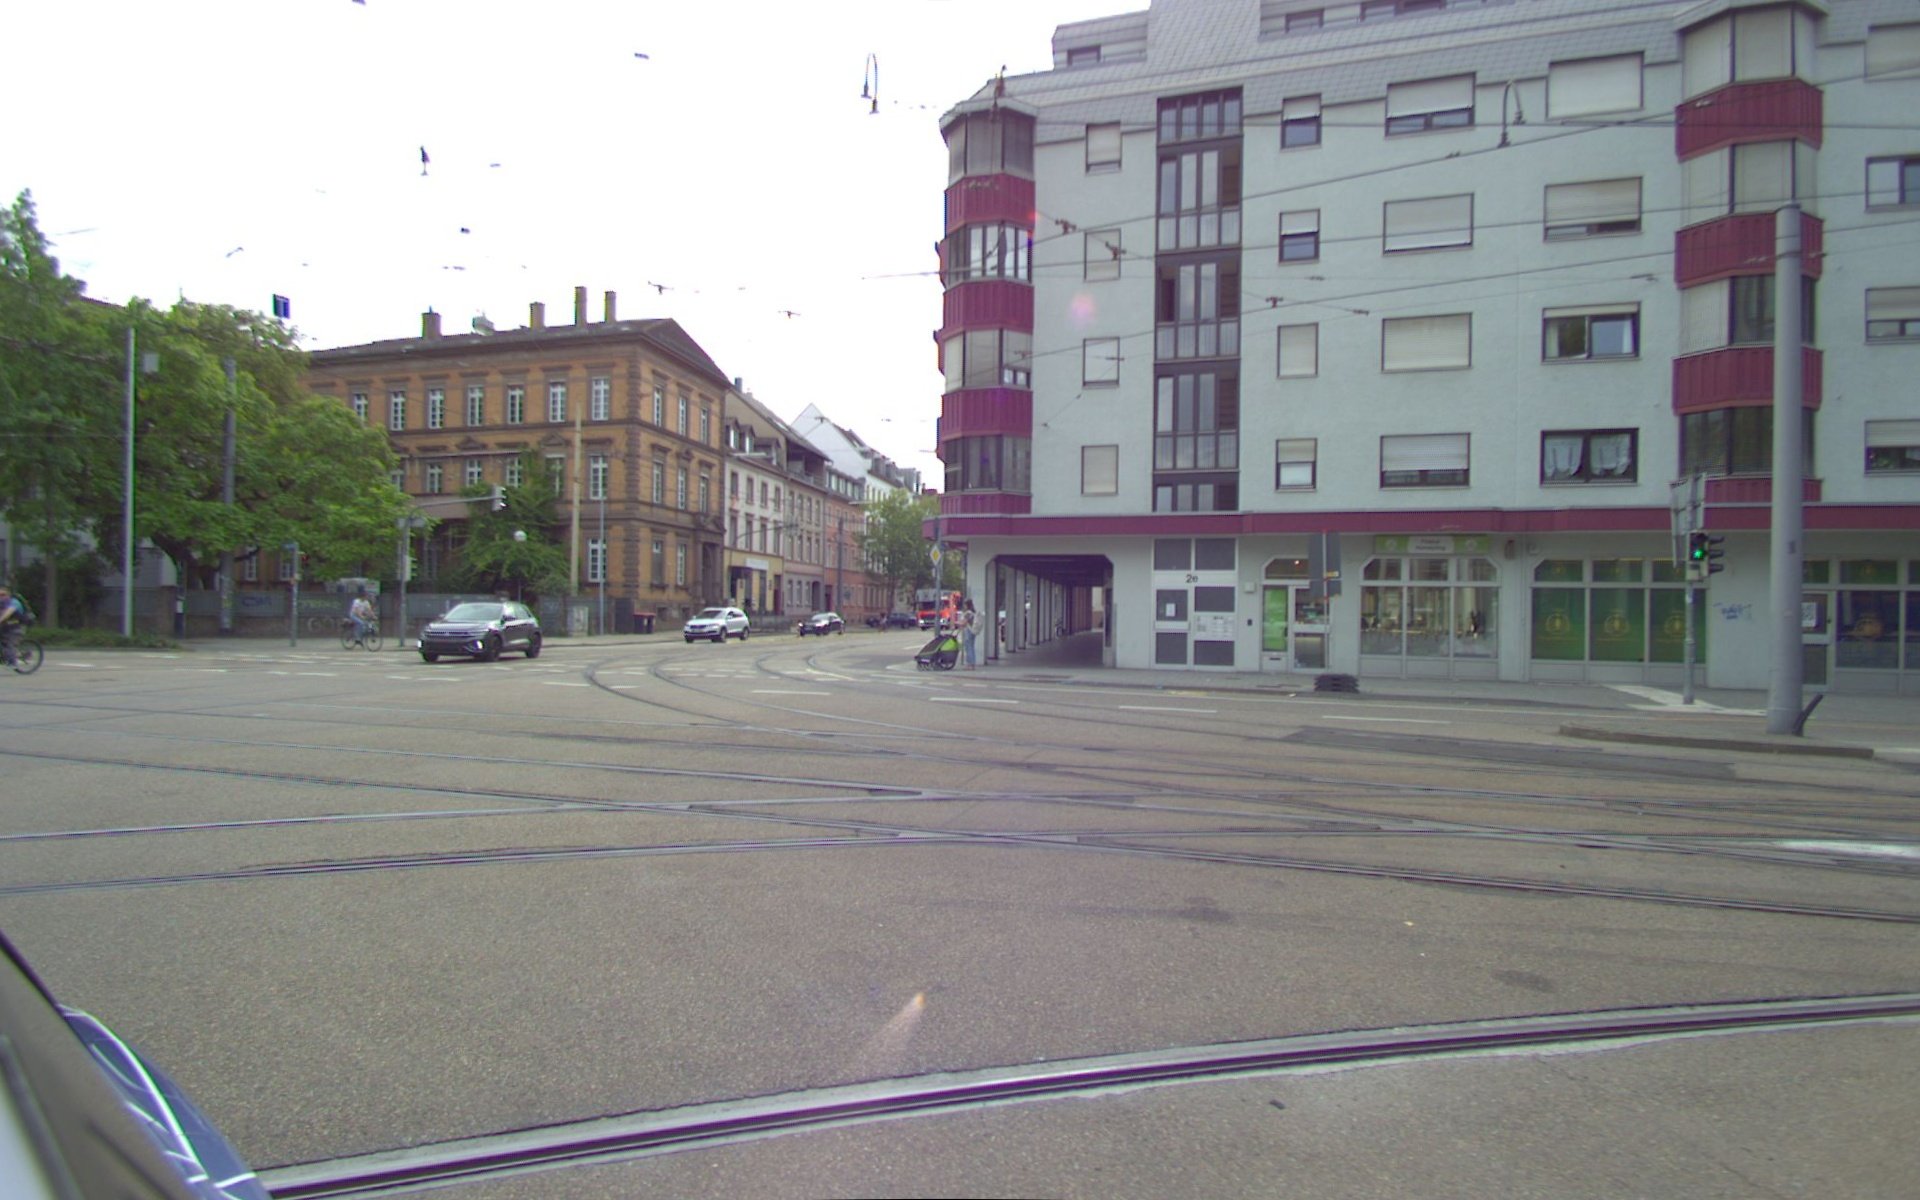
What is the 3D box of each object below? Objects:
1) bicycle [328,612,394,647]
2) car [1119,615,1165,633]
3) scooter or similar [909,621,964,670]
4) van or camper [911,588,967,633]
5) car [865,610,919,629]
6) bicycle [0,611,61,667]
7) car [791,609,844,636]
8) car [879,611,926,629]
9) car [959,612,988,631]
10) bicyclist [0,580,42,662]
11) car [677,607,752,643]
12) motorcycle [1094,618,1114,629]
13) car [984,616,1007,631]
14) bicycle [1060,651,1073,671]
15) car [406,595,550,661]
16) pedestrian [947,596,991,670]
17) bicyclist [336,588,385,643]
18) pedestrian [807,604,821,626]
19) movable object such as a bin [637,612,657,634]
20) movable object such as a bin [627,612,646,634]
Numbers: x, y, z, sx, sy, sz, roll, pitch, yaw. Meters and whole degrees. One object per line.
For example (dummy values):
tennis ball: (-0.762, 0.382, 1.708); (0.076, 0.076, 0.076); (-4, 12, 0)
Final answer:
bicycle: (-20.038, 0.980, 33.866); (1.999, 1.094, 0.747); (1, -1, 18)
car: (15.165, 1.994, 84.421); (3.601, 1.399, 1.611); (1, -1, 3)
scooter or similar: (-0.574, 1.101, 24.787); (1.186, 1.137, 0.943); (0, -1, 10)
van or camper: (-1.612, 0.885, 83.435); (2.582, 3.447, 9.617); (1, -1, 11)
car: (-6.119, 1.781, 90.744); (4.552, 1.484, 1.794); (3, -1, -12)
bicycle: (-18.288, 0.734, 19.272); (0.705, 1.026, 1.800); (1, 0, 0)
car: (-8.611, 1.372, 61.430); (1.758, 1.546, 4.028); (1, -1, 15)
car: (-5.557, 1.901, 97.535); (4.274, 1.491, 1.794); (3, -1, -12)
car: (1.300, 2.005, 95.350); (1.980, 1.721, 4.037); (1, -1, 12)
bicyclist: (-18.282, 0.383, 19.281); (0.706, 1.518, 0.918); (2, 0, 0)
car: (-11.371, 1.133, 47.148); (1.756, 1.603, 4.266); (0, -1, 11)
motorcycle: (14.093, 2.300, 98.856); (1.905, 1.094, 0.790); (1, -1, 12)
car: (3.762, 2.418, 106.973); (1.891, 1.498, 3.987); (1, -1, 10)
bicycle: (5.463, 3.125, 52.081); (0.559, 0.960, 1.648); (1, -1, 4)
car: (-12.648, 0.709, 26.861); (1.750, 1.559, 4.281); (2, -1, 0)
pedestrian: (0.230, 0.799, 24.671); (0.940, 1.757, 0.810); (1, -1, 9)
bicyclist: (-20.051, 0.510, 33.878); (1.242, 1.774, 0.744); (1, -1, 17)
pedestrian: (-11.567, 1.207, 80.124); (0.725, 1.701, 0.923); (5, 0, 11)
movable object such as a bin: (-16.239, 1.193, 52.507); (0.658, 1.090, 0.699); (5, 0, 8)
movable object such as a bin: (-16.575, 1.181, 51.842); (0.645, 1.090, 0.676); (5, 0, 8)
